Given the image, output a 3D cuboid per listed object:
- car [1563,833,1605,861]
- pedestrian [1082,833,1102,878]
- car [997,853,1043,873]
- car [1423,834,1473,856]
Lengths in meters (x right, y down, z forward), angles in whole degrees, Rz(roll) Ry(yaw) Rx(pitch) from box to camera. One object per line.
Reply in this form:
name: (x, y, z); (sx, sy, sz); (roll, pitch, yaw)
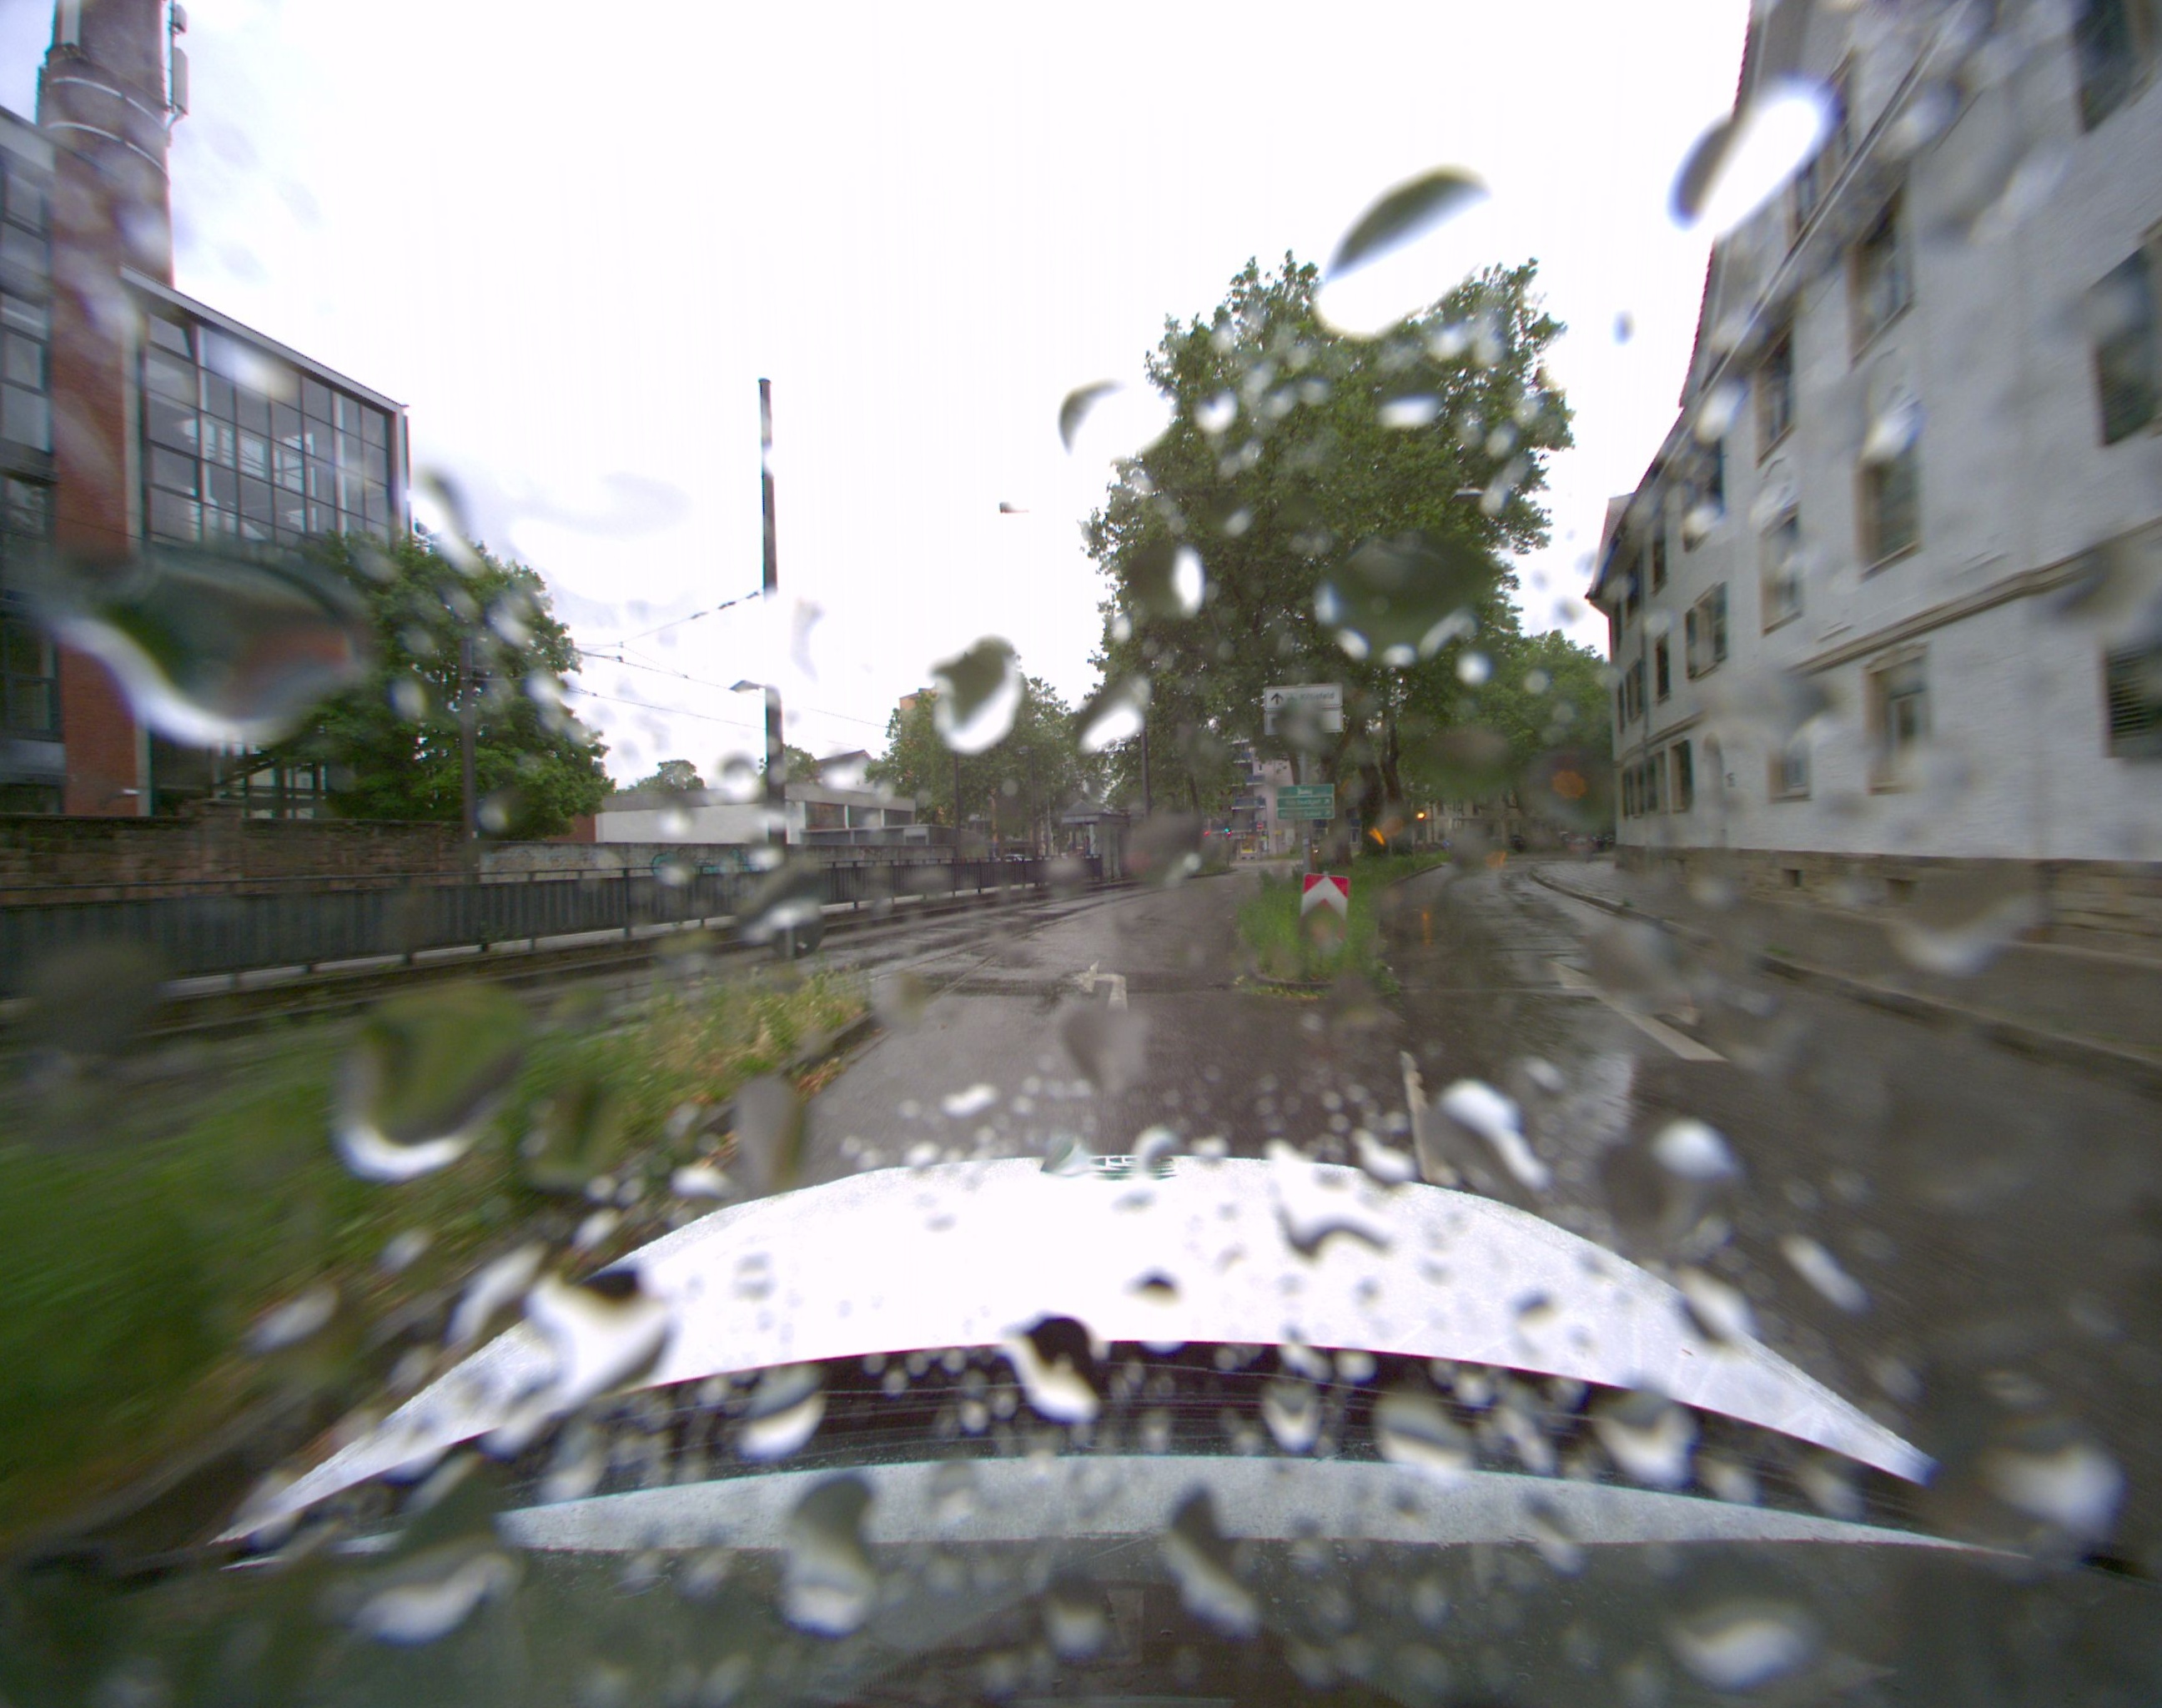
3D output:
car: (41.278, -0.568, 66.750); (1.975, 2.013, 4.024); (-4, -1, 44)
pedestrian: (0.427, 0.072, 31.979); (0.582, 1.731, 0.565); (-3, -1, -14)
car: (-5.785, 0.867, 76.723); (3.967, 1.651, 1.985); (-4, -1, 41)
car: (30.842, -0.749, 68.442); (3.445, 1.523, 1.530); (-4, -1, 37)
